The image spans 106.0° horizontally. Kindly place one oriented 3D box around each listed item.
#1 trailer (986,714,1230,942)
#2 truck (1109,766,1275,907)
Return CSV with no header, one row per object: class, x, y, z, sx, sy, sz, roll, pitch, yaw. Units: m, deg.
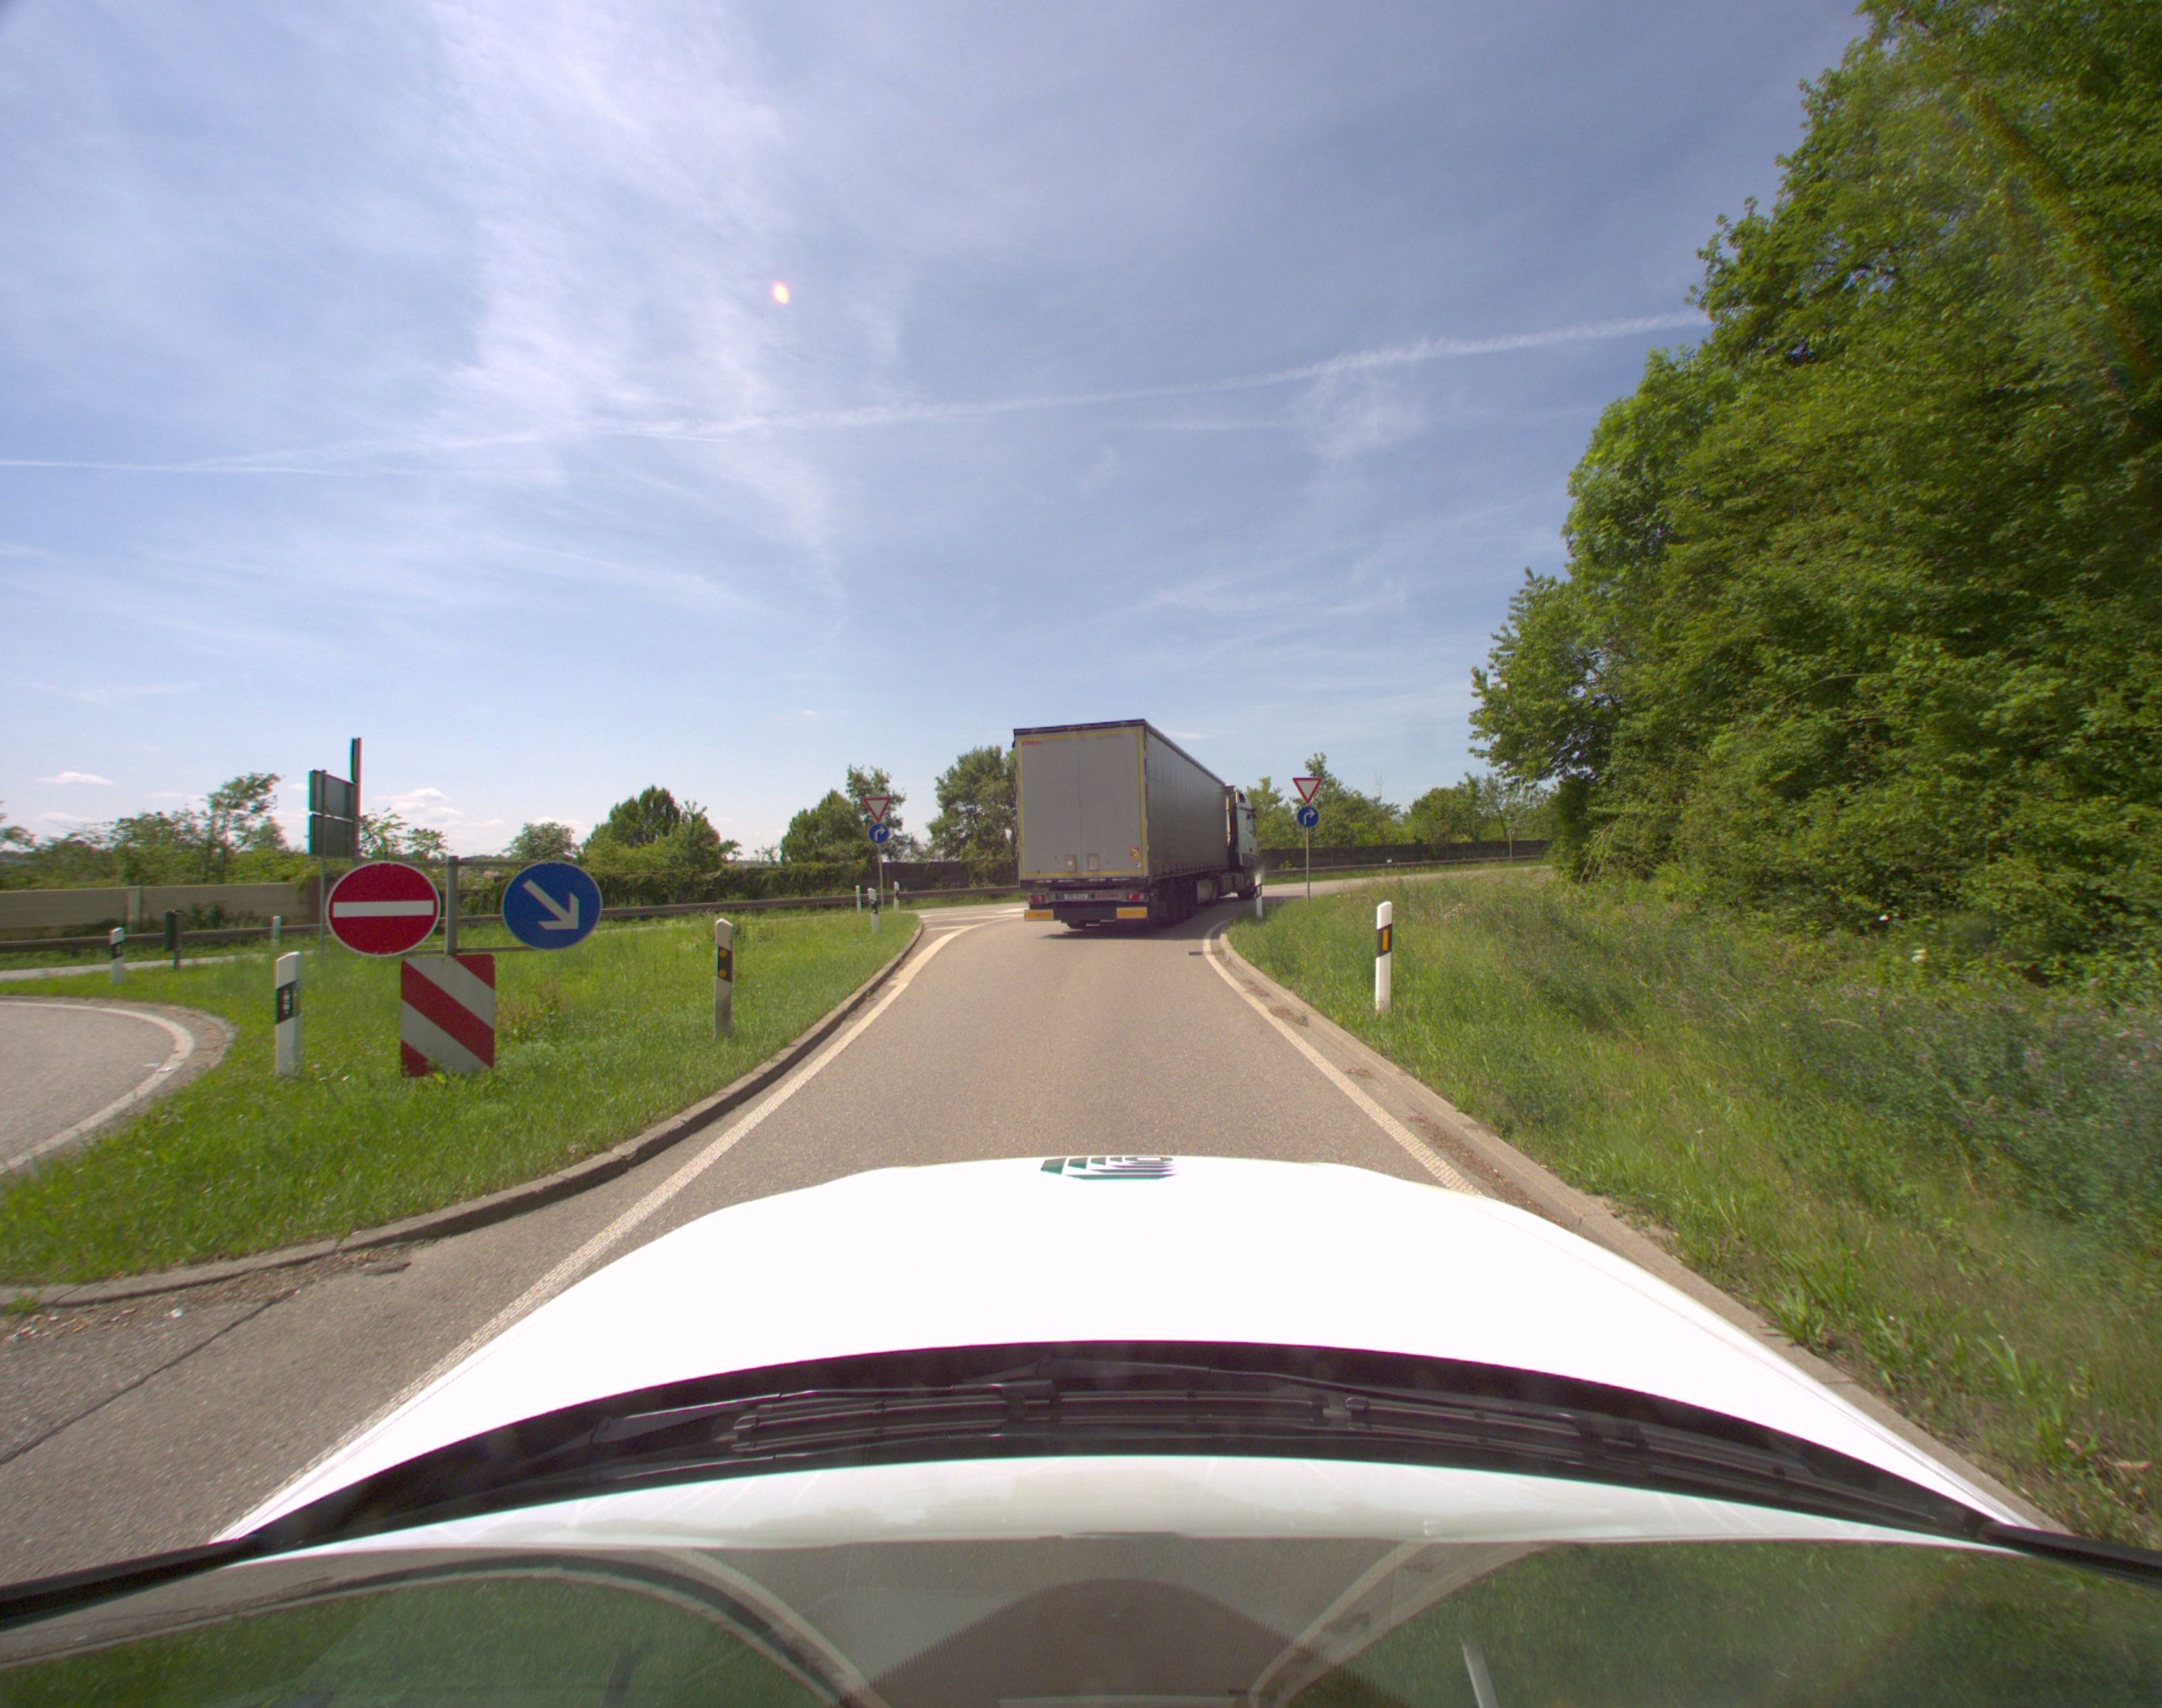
trailer,1.608,-0.414,21.319,3.004,4.035,13.409,-2,-1,16
truck,4.113,-0.521,28.467,3.122,4.225,7.167,-3,-1,30
